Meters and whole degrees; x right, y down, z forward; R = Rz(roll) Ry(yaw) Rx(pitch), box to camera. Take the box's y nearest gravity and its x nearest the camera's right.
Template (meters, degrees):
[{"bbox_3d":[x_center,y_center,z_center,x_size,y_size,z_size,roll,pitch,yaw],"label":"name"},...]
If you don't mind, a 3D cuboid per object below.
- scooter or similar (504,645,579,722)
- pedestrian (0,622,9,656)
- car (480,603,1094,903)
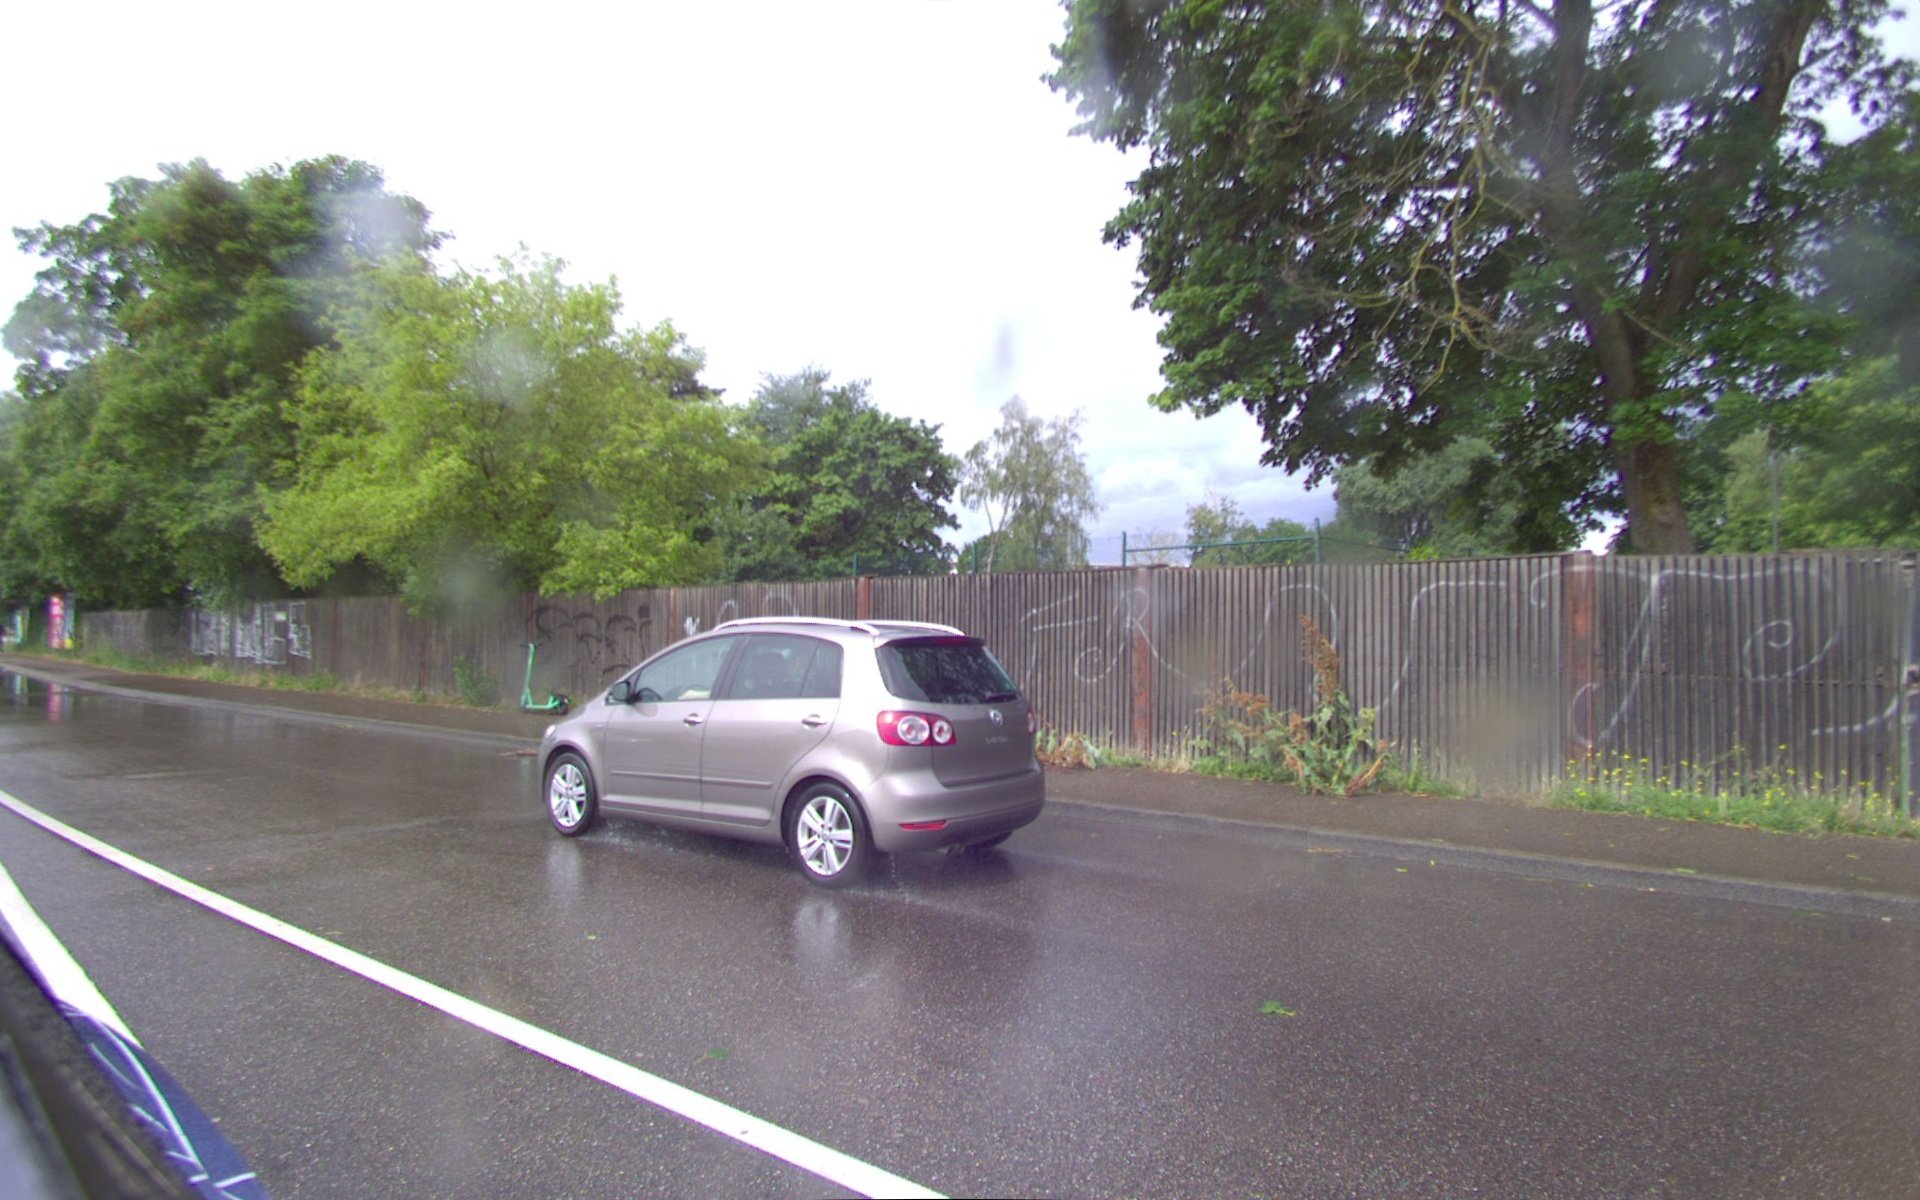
[{"bbox_3d":[-6.763,1.330,16.350,1.205,1.171,0.557,-1,-2,34],"label":"scooter or similar"},{"bbox_3d":[-51.396,2.081,54.003,0.644,1.783,0.830,-2,-3,41],"label":"pedestrian"},{"bbox_3d":[-1.405,0.898,7.321,4.416,1.564,1.765,-1,-5,36],"label":"car"}]
